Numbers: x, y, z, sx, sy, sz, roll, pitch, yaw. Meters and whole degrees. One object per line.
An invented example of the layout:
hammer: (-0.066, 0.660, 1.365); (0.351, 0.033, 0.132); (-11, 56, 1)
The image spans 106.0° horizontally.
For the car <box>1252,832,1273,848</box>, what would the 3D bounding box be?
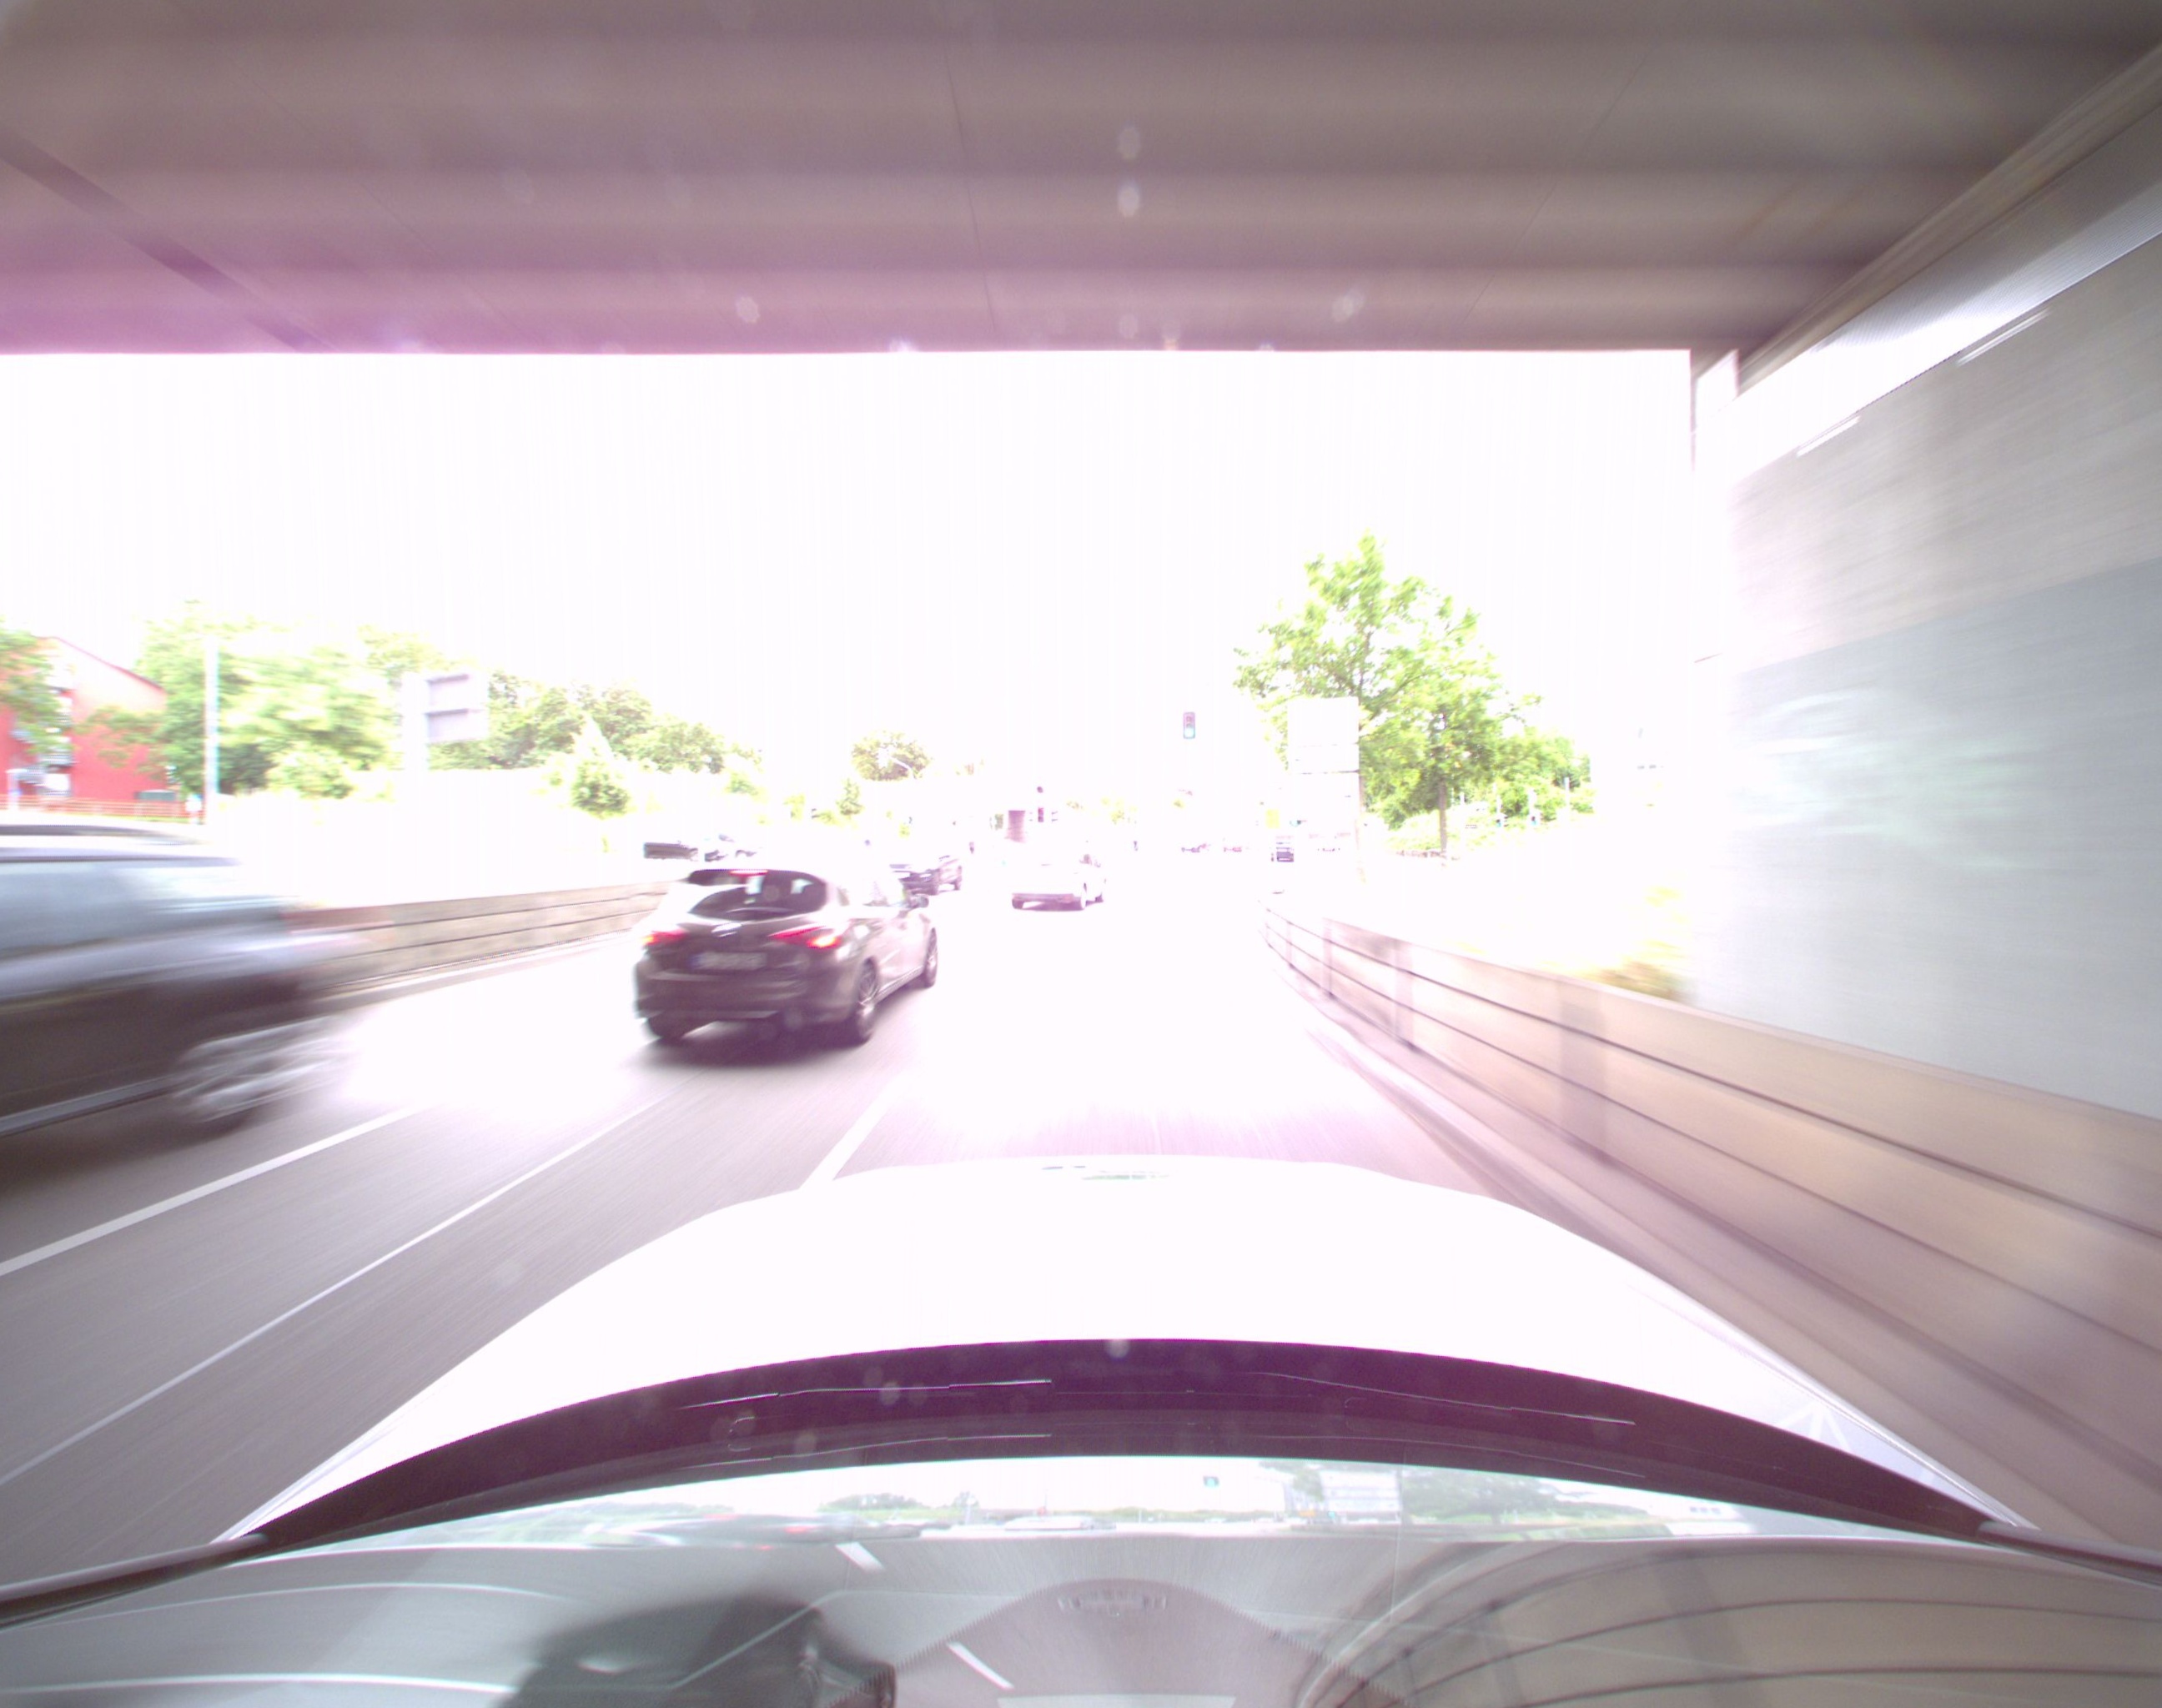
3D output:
car: (17.297, -1.317, 77.717); (1.149, 1.366, 2.520); (4, 1, 30)

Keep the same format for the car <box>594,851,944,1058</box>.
car: (-2.594, 0.723, 7.906); (1.839, 1.493, 3.999); (0, 0, 0)

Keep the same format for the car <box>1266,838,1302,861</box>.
car: (13.787, -0.328, 55.117); (1.884, 1.466, 4.021); (1, 1, 21)

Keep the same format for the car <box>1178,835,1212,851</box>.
car: (9.940, -0.964, 70.613); (1.839, 1.360, 4.023); (1, 1, 24)

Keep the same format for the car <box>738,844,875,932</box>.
car: (-5.550, 0.603, 16.985); (1.760, 1.592, 3.994); (0, 1, -5)

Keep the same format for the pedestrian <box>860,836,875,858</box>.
pedestrian: (-15.390, -0.510, 58.661); (0.952, 1.612, 0.697); (0, 1, -10)

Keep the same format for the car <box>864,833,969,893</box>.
car: (-4.973, 0.246, 25.287); (1.983, 1.698, 4.176); (0, 1, 7)

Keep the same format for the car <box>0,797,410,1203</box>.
car: (-5.387, 0.609, 3.569); (1.681, 1.708, 3.789); (1, -1, 0)

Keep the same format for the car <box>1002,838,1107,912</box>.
car: (-0.571, 0.468, 21.113); (1.818, 1.706, 3.882); (1, 1, 12)

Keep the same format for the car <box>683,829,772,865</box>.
car: (-19.330, -0.384, 44.665); (3.977, 1.947, 1.999); (0, 0, -2)

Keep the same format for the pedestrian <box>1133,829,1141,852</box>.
pedestrian: (4.638, -1.108, 67.945); (0.602, 1.862, 0.596); (0, 1, -3)

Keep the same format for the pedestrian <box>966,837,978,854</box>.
pedestrian: (-7.574, -0.565, 56.483); (0.745, 1.114, 0.475); (3, 2, -9)

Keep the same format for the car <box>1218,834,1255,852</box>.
car: (13.799, -1.010, 72.021); (1.824, 1.454, 4.026); (4, 3, 33)

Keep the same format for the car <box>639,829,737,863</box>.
car: (-19.595, -0.414, 40.677); (3.968, 1.596, 1.875); (1, 1, 4)

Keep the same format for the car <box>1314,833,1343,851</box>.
car: (22.388, -1.069, 73.570); (1.976, 1.618, 4.023); (0, 1, 24)
